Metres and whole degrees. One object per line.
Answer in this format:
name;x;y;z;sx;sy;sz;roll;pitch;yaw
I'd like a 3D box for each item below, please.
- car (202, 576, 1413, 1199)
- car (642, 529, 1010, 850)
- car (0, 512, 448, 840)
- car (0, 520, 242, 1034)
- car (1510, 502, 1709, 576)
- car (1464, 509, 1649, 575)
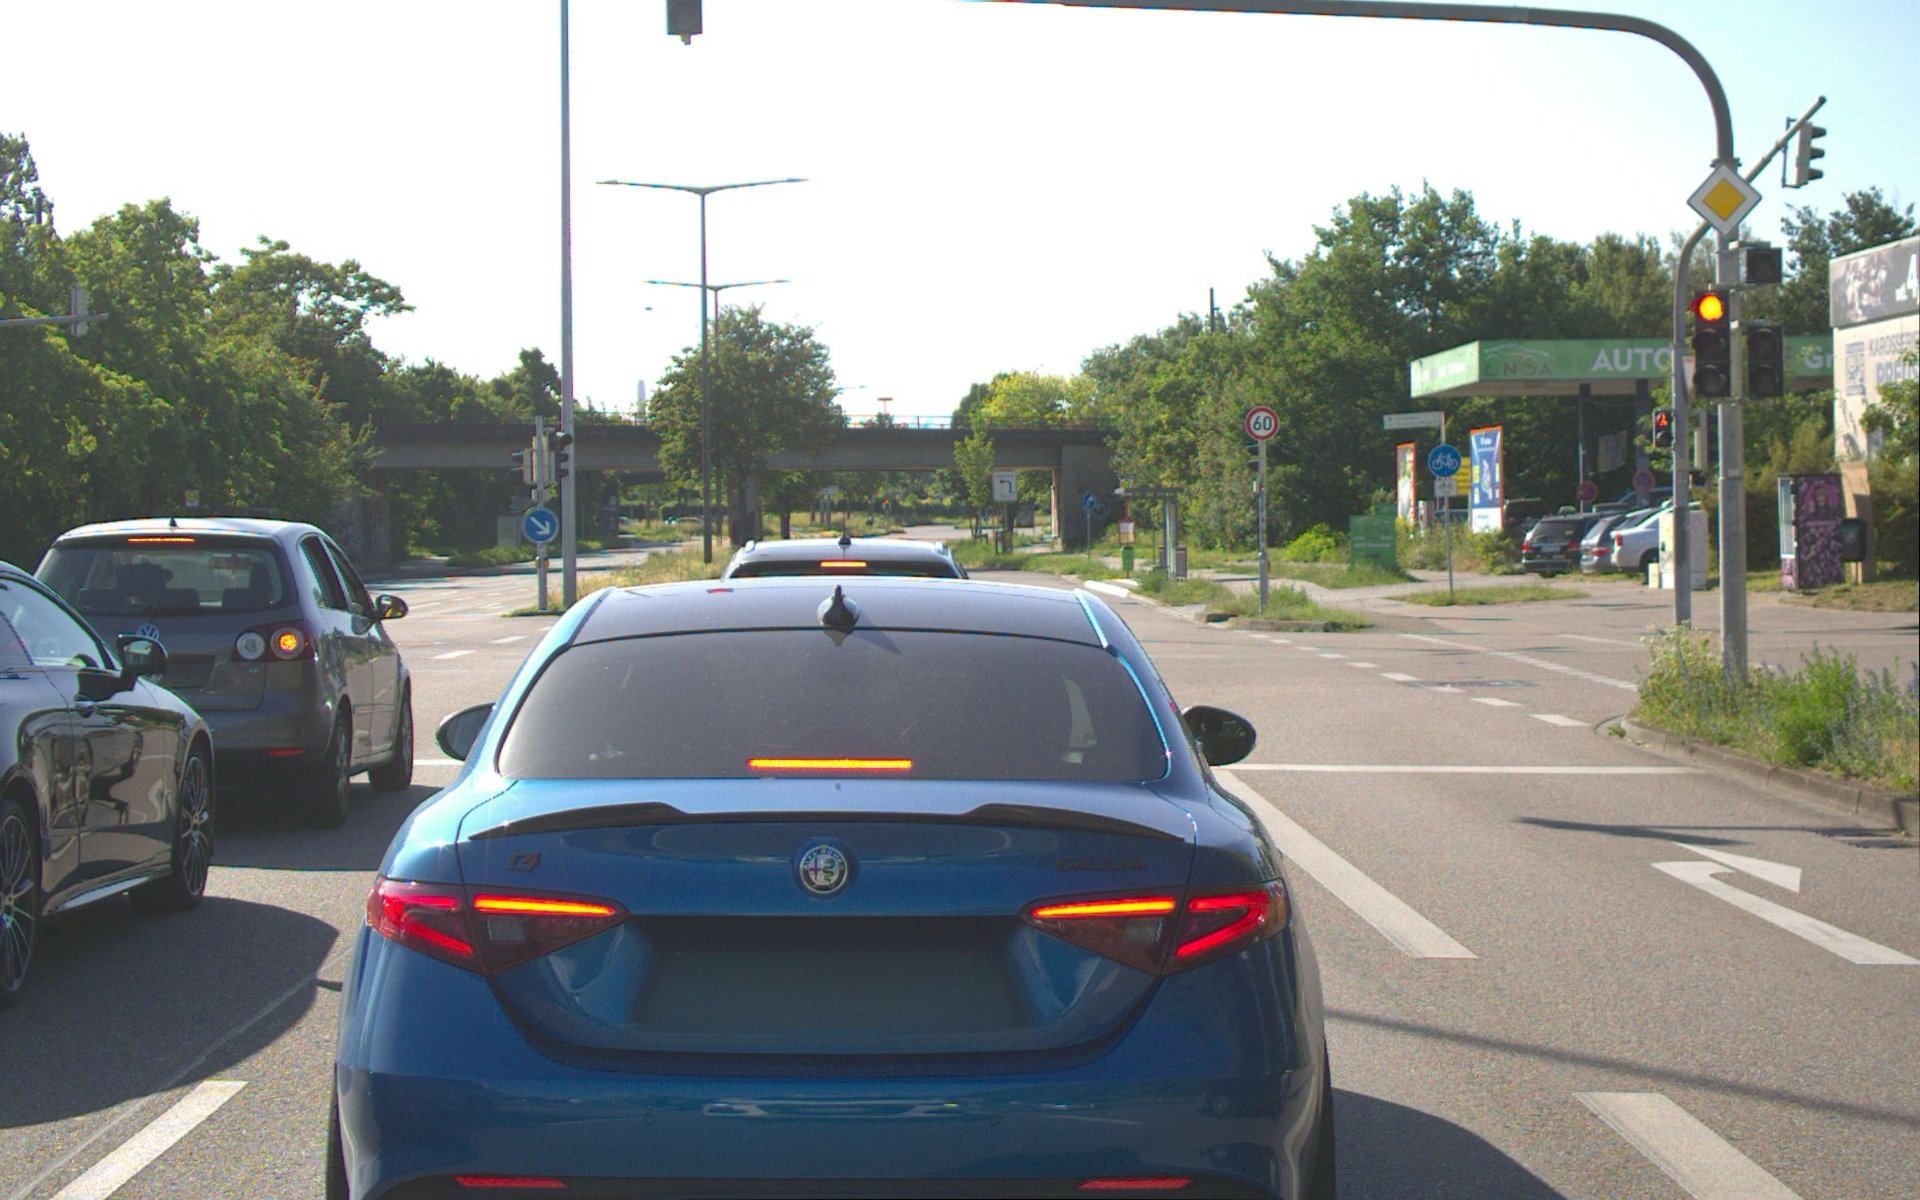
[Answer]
car;-0.212;0.677;7.317;1.910;1.418;3.719;1;1;1
car;-0.610;0.408;18.135;1.704;1.492;3.719;1;1;1
car;-3.944;0.342;18.619;1.812;1.546;4.354;1;1;-2
car;-3.818;0.495;11.862;1.812;1.546;4.544;0;1;-1
car;14.305;-1.333;75.878;3.987;1.547;2.000;1;0;1
car;14.684;-1.411;84.645;3.986;1.547;2.001;1;0;-18
